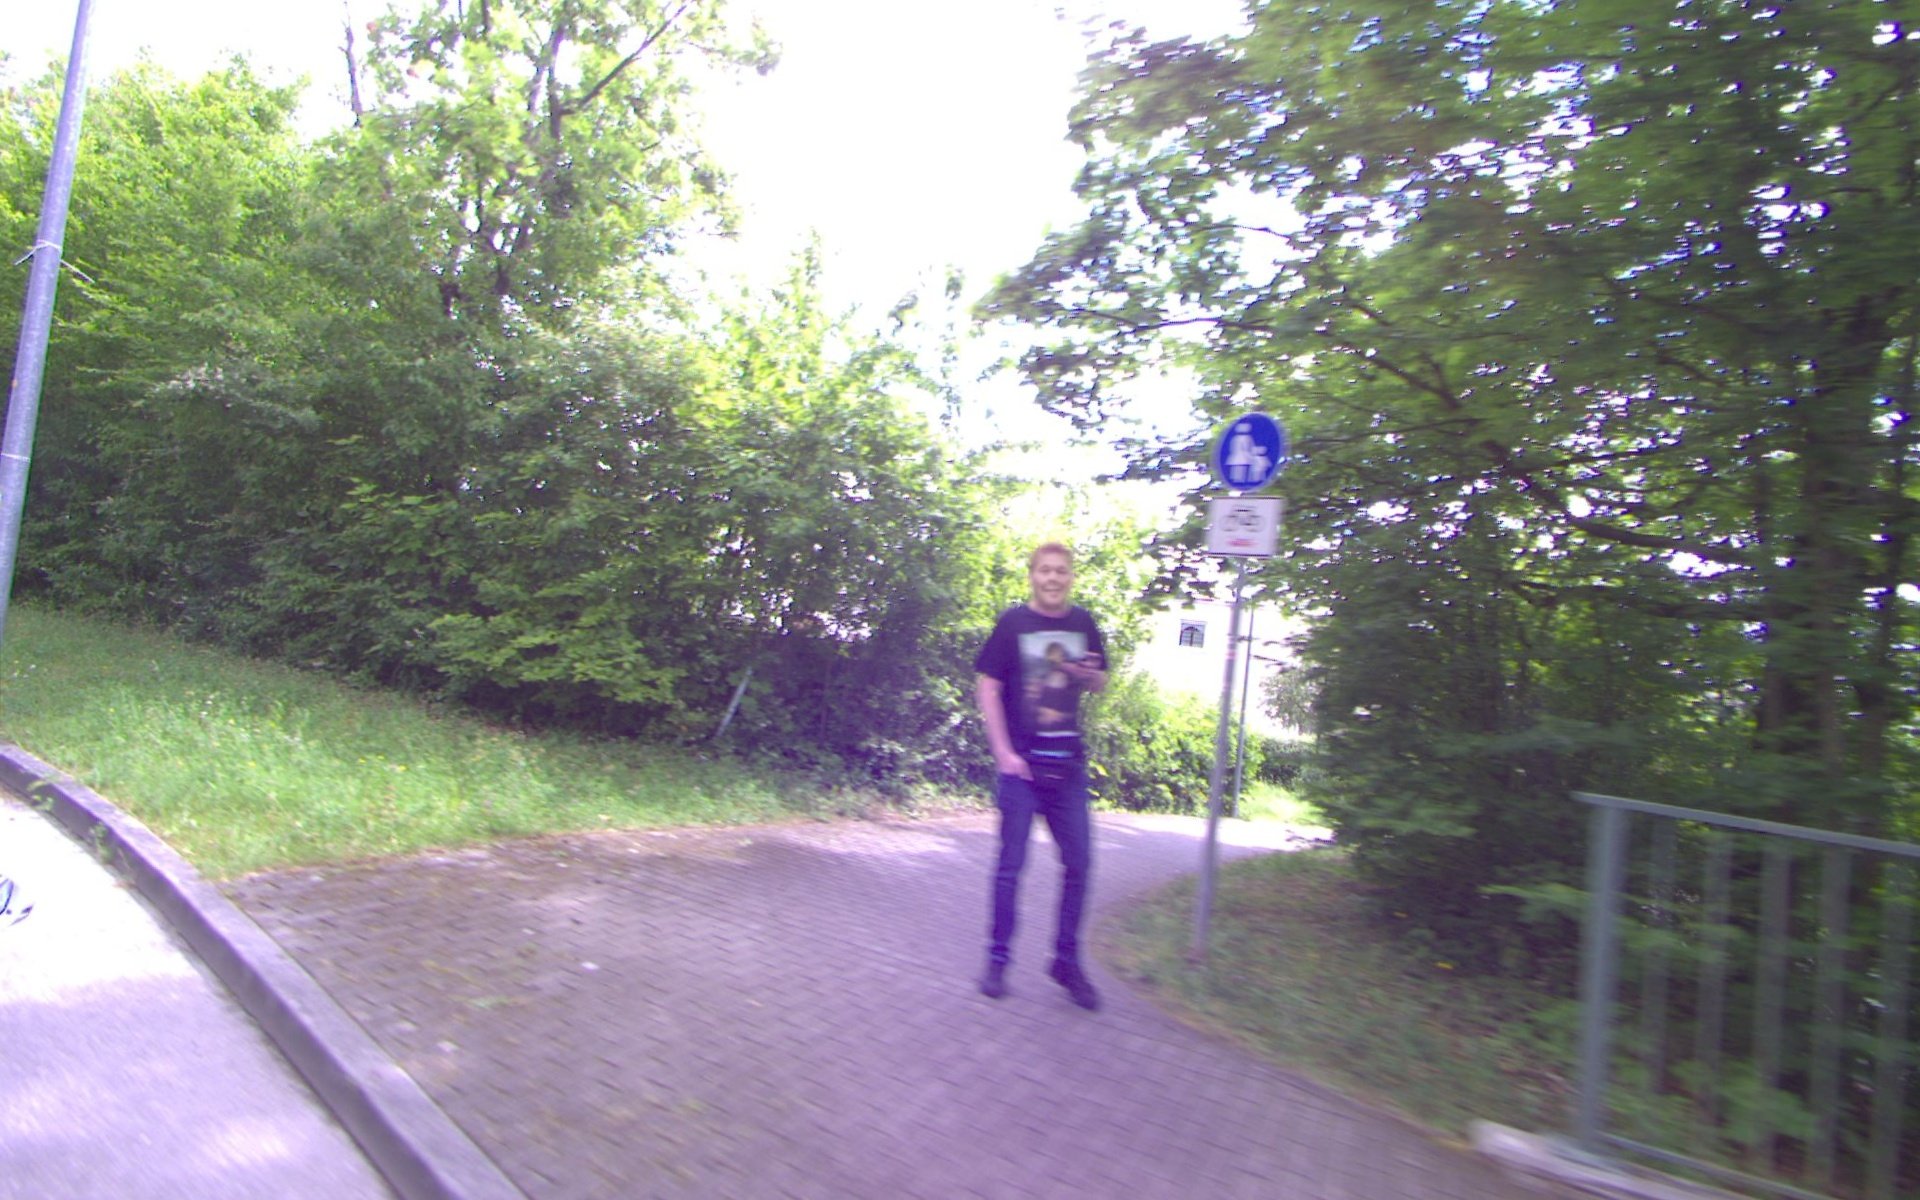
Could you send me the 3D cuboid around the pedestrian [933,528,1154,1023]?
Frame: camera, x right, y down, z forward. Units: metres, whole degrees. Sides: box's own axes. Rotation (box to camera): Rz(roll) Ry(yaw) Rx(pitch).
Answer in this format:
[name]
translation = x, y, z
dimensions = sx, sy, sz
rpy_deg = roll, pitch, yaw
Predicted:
[pedestrian]
translation = 0.308, 0.676, 4.128
dimensions = 0.578, 1.804, 0.682
rpy_deg = 7, -1, -5
